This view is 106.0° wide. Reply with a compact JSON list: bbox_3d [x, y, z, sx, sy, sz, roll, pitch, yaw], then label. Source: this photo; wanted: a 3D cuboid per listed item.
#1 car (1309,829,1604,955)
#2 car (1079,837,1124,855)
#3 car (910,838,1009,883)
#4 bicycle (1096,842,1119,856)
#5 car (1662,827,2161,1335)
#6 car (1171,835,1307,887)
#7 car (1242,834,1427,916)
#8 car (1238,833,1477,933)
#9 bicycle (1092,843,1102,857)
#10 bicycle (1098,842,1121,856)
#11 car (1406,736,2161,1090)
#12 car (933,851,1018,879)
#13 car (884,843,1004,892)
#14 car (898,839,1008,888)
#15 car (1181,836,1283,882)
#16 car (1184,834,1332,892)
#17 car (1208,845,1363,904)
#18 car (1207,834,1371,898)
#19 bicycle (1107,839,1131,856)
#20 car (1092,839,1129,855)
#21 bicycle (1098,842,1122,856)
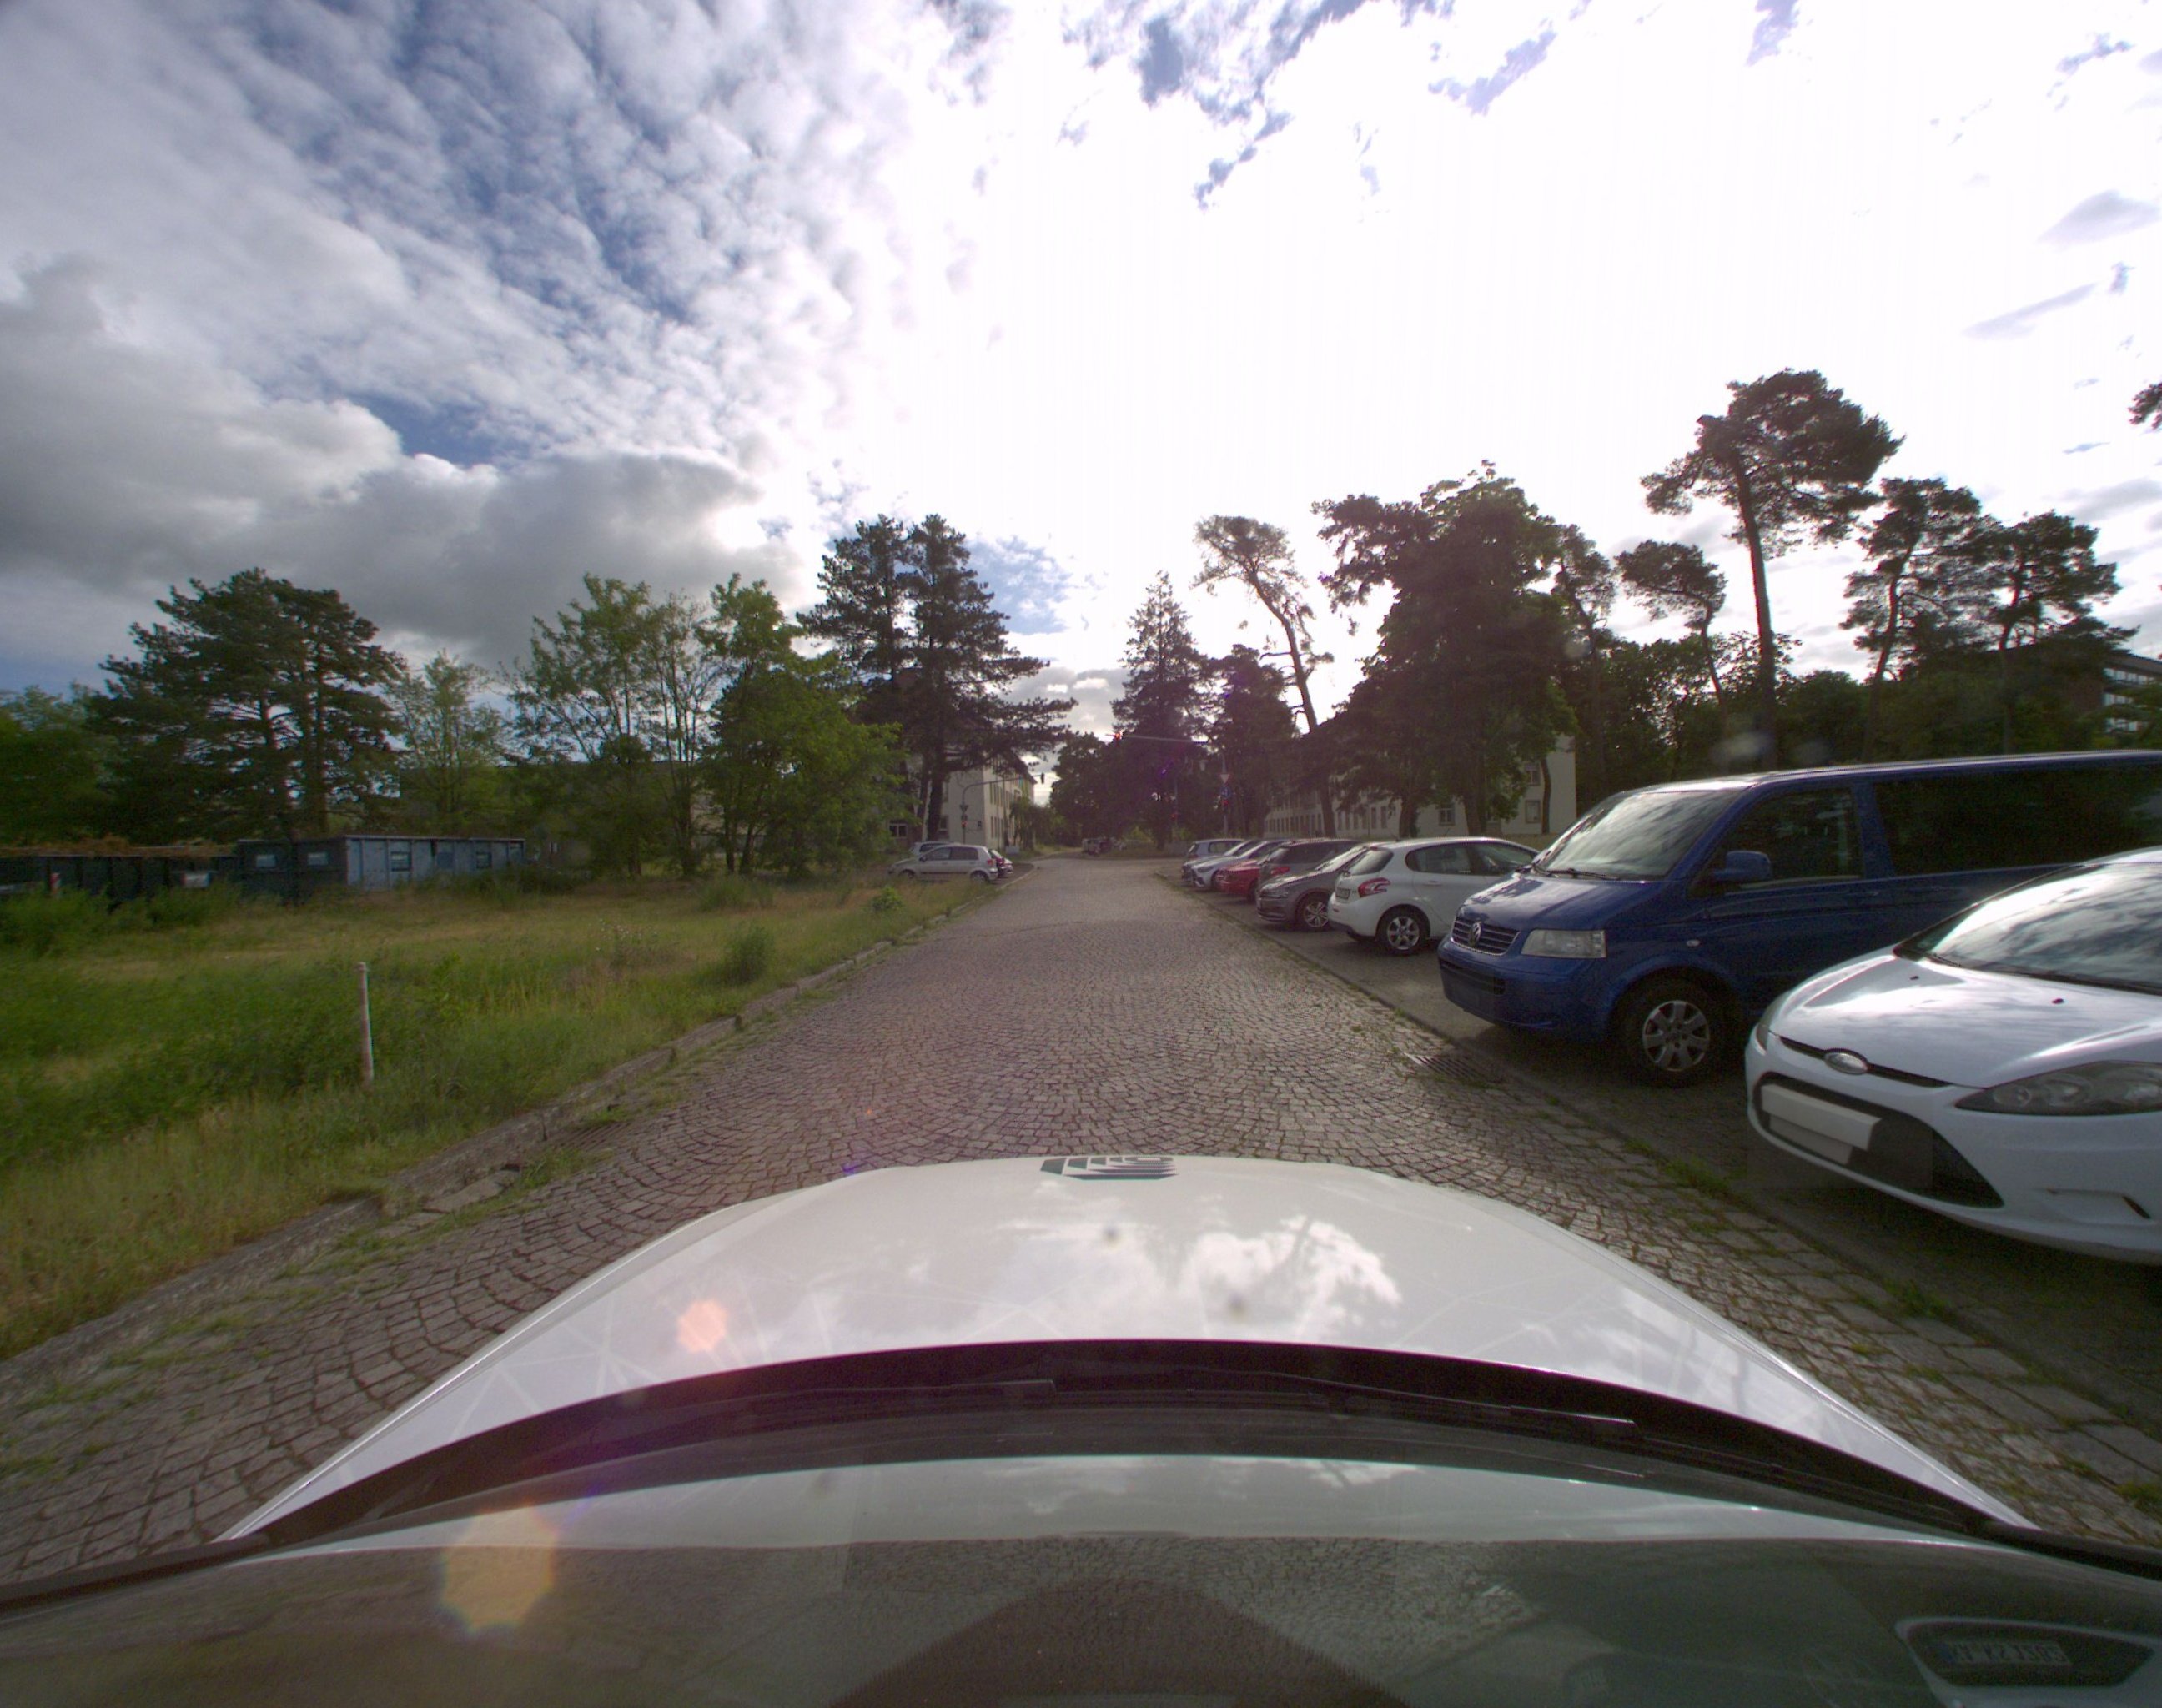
[{"bbox_3d":[5.035,0.468,11.208,3.283,1.504,1.663,-2,1,-2],"label":"car"},{"bbox_3d":[2.447,-0.967,96.452,5.051,2.013,1.993,-1,1,-10],"label":"car"},{"bbox_3d":[-5.081,0.251,34.420,3.983,1.749,1.923,-1,1,-7],"label":"car"},{"bbox_3d":[2.572,-0.504,80.431,2.158,1.268,0.811,-1,1,-6],"label":"bicycle"},{"bbox_3d":[4.830,0.629,3.356,3.713,1.424,1.653,-3,1,-2],"label":"car"},{"bbox_3d":[5.213,0.195,27.081,4.116,1.543,1.661,-2,1,-6],"label":"car"},{"bbox_3d":[5.255,0.396,17.072,3.293,1.504,1.658,-2,1,-10],"label":"car"},{"bbox_3d":[4.747,0.441,14.193,3.598,1.506,1.658,-2,1,-10],"label":"car"},{"bbox_3d":[1.490,-0.375,74.871,0.807,1.268,1.974,-1,1,2],"label":"bicycle"},{"bbox_3d":[2.793,-0.501,79.217,2.158,1.268,0.811,-1,1,-6],"label":"bicycle"},{"bbox_3d":[5.056,0.326,5.826,4.768,2.039,1.738,-2,1,-1],"label":"car"},{"bbox_3d":[-4.702,0.497,36.709,3.666,1.093,1.643,-2,1,-6],"label":"car"},{"bbox_3d":[-4.772,0.434,28.864,3.981,1.552,1.996,-2,1,-6],"label":"car"},{"bbox_3d":[-4.839,0.328,31.338,3.981,1.705,1.996,-2,1,-6],"label":"car"},{"bbox_3d":[5.475,0.166,29.652,3.384,1.543,1.389,-2,1,-6],"label":"car"},{"bbox_3d":[5.210,0.238,24.271,3.981,1.543,1.661,-2,1,-6],"label":"car"},{"bbox_3d":[4.913,0.459,19.788,3.287,1.267,1.661,-2,1,-5],"label":"car"},{"bbox_3d":[5.560,0.289,22.034,3.981,1.543,1.661,-1,1,-6],"label":"car"},{"bbox_3d":[3.726,-0.686,79.926,2.158,1.615,0.811,-1,1,-6],"label":"bicycle"},{"bbox_3d":[3.369,-0.828,93.175,3.981,1.644,1.996,-1,1,-6],"label":"car"},{"bbox_3d":[2.789,-0.499,78.630,2.158,1.268,0.811,-1,1,-6],"label":"bicycle"}]
